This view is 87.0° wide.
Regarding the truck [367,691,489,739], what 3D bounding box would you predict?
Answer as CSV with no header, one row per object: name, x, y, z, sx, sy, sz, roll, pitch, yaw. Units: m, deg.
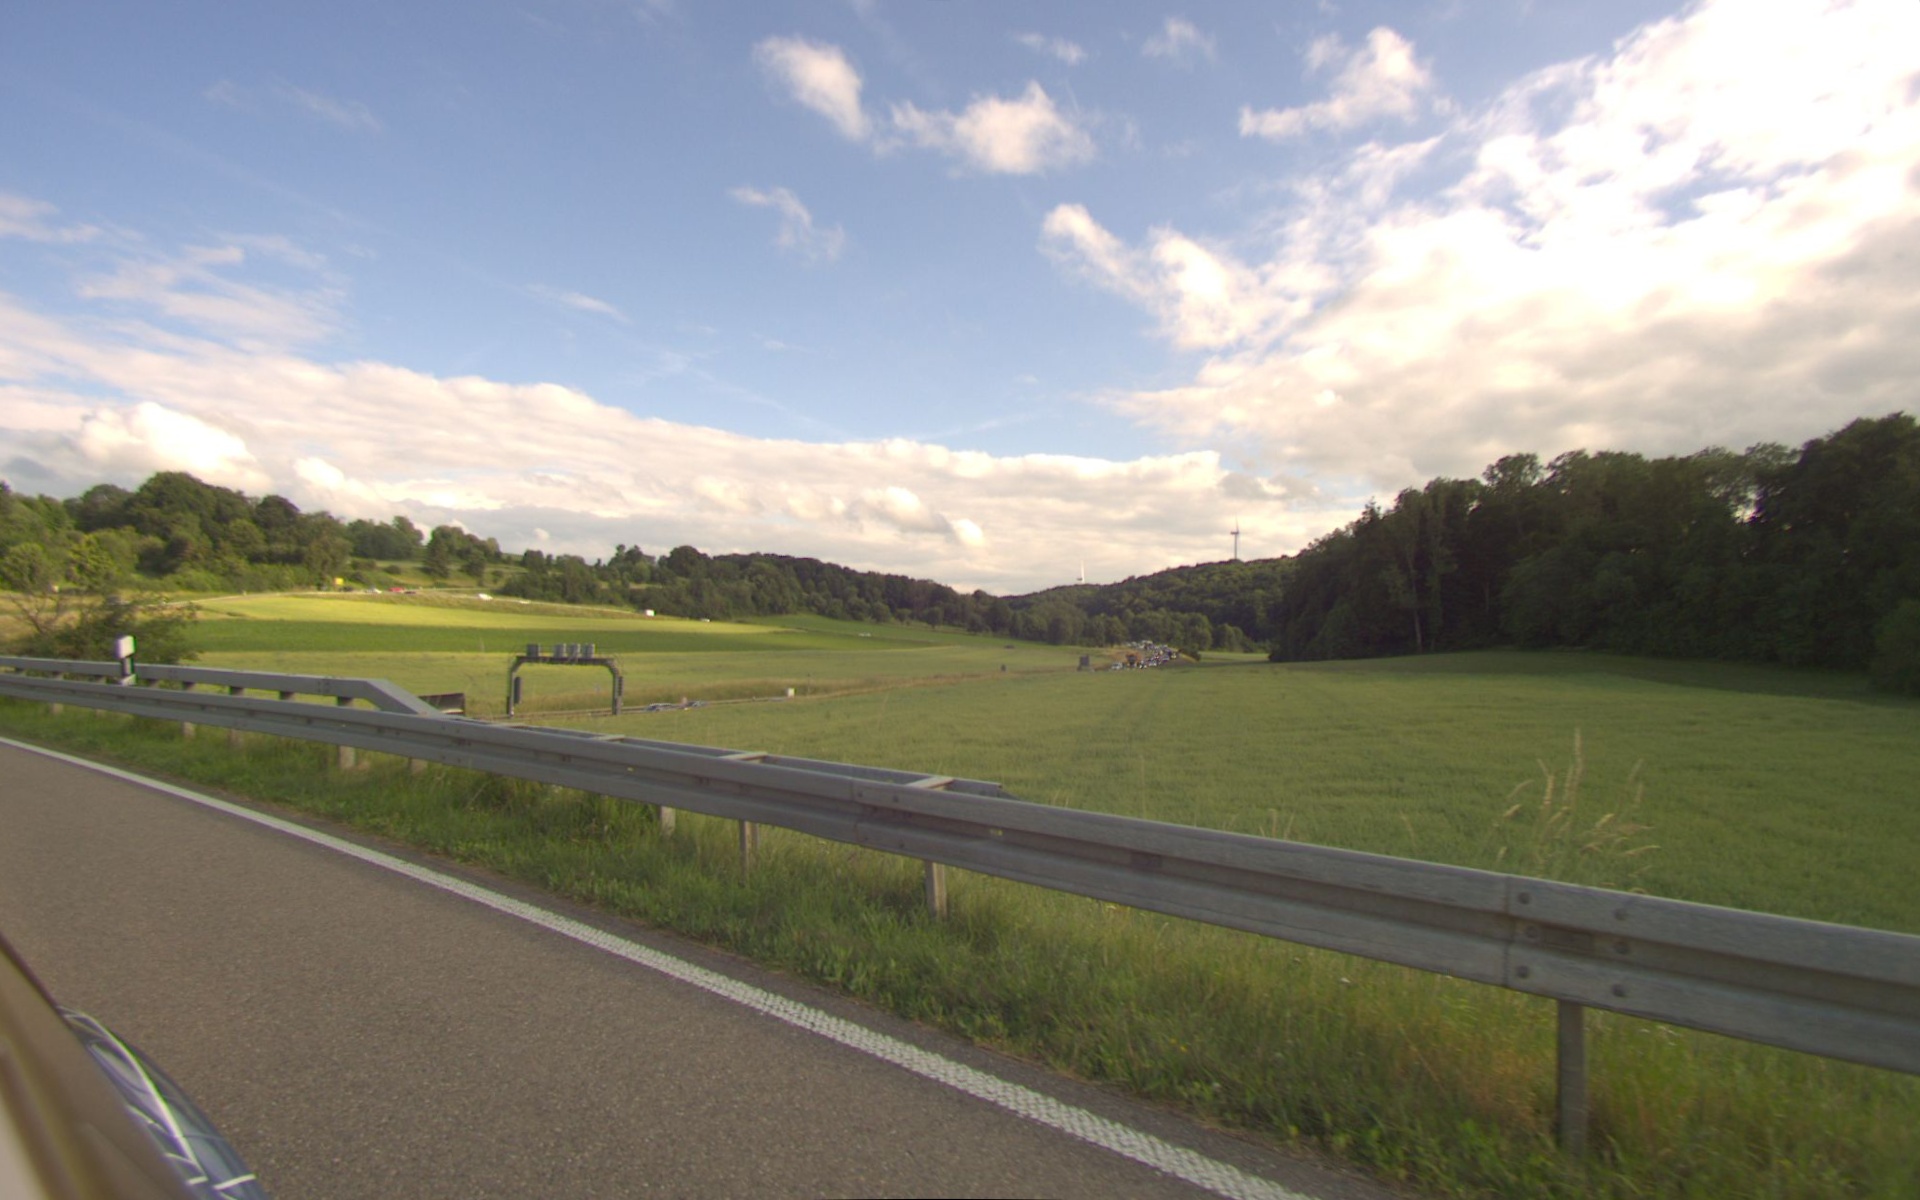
truck,-41.577,9.026,79.481,2.116,3.431,8.407,0,-6,30

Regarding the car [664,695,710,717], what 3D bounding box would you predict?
car,-24.818,9.614,92.144,1.821,1.662,3.960,0,-3,29
